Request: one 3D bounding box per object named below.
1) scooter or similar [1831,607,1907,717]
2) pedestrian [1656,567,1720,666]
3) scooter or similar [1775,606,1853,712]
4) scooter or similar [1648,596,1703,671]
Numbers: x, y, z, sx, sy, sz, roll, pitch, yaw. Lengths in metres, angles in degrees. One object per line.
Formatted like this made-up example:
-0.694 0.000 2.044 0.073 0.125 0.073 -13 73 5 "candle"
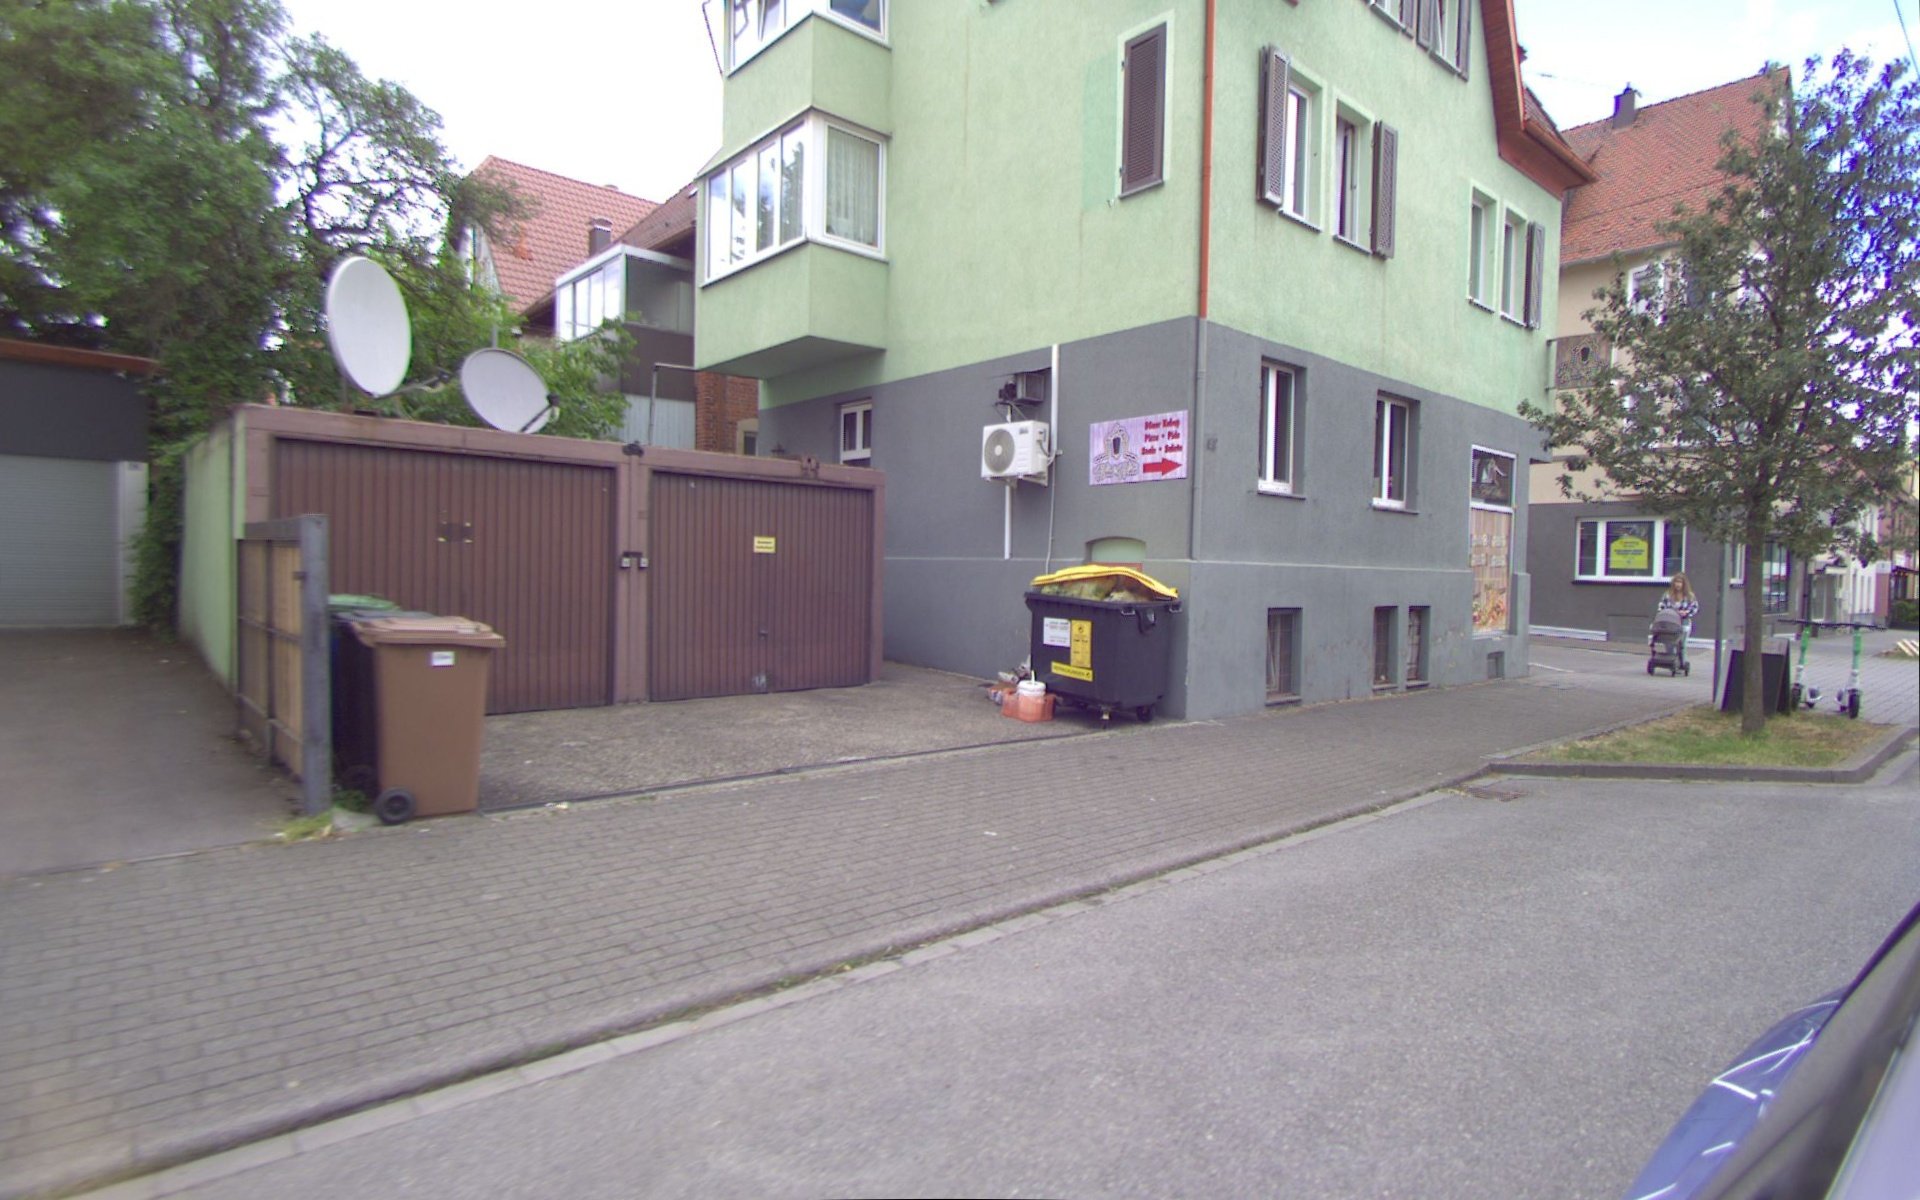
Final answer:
11.416 0.736 12.689 1.909 1.251 0.502 0 1 -42 "scooter or similar"
13.119 0.278 18.238 0.884 1.741 0.752 0 1 -41 "pedestrian"
11.064 0.720 13.092 1.909 1.251 0.502 0 1 -42 "scooter or similar"
12.455 0.560 17.621 0.876 1.248 0.590 0 1 -42 "scooter or similar"
